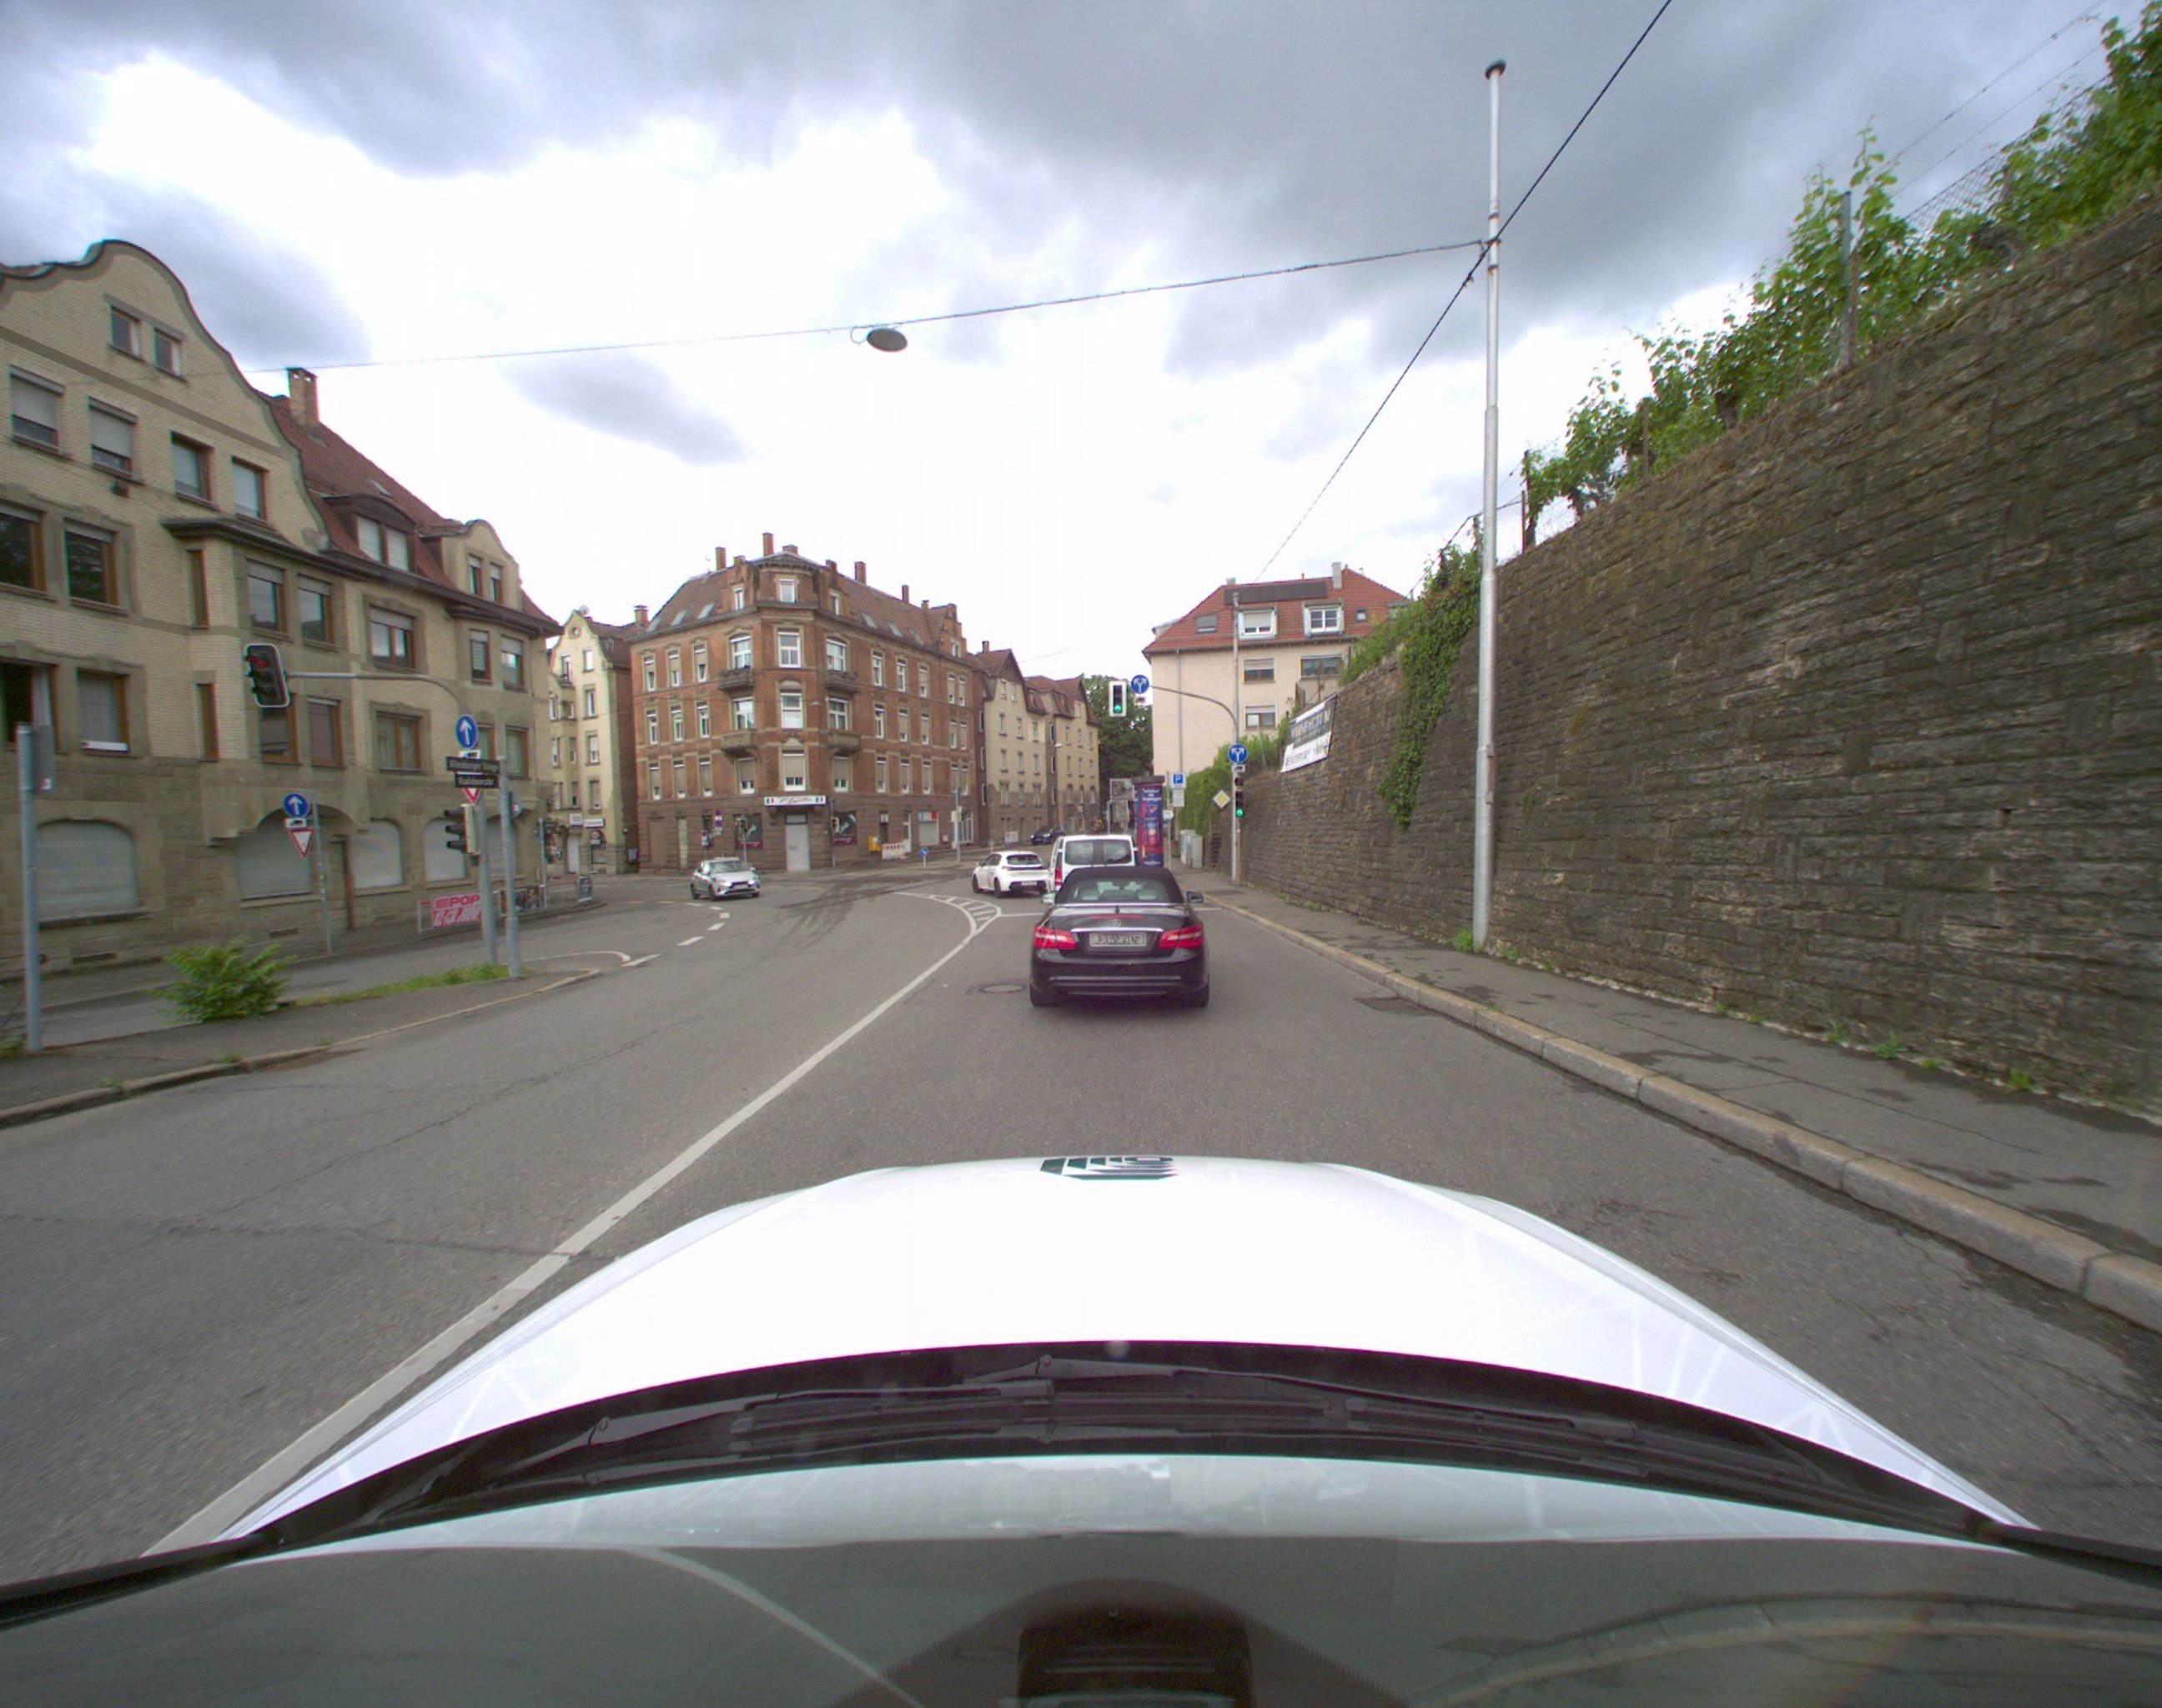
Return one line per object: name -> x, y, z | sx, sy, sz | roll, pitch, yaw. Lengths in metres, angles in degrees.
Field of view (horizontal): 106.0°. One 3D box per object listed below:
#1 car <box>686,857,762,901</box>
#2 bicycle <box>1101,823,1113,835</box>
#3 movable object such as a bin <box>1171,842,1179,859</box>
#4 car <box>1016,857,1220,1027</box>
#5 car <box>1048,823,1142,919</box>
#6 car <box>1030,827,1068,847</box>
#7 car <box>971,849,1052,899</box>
car -> -13.450, 0.940, 30.584 | 1.683, 1.467, 3.601 | -3, 0, -38
bicycle -> 2.933, -2.871, 93.060 | 0.626, 1.306, 2.611 | -5, 2, 17
movable object such as a bin -> 5.120, -0.202, 44.464 | 0.343, 0.911, 0.494 | -1, 0, -4
car -> 0.375, 0.792, 9.446 | 1.755, 1.409, 4.400 | -2, 0, 1
car -> 0.198, 0.364, 18.704 | 1.887, 1.929, 4.641 | 0, -1, -2
car -> -2.768, -1.523, 71.973 | 1.978, 1.514, 4.306 | -2, 3, 17
car -> -2.365, 0.636, 26.953 | 1.686, 1.466, 3.892 | -2, 0, -20
